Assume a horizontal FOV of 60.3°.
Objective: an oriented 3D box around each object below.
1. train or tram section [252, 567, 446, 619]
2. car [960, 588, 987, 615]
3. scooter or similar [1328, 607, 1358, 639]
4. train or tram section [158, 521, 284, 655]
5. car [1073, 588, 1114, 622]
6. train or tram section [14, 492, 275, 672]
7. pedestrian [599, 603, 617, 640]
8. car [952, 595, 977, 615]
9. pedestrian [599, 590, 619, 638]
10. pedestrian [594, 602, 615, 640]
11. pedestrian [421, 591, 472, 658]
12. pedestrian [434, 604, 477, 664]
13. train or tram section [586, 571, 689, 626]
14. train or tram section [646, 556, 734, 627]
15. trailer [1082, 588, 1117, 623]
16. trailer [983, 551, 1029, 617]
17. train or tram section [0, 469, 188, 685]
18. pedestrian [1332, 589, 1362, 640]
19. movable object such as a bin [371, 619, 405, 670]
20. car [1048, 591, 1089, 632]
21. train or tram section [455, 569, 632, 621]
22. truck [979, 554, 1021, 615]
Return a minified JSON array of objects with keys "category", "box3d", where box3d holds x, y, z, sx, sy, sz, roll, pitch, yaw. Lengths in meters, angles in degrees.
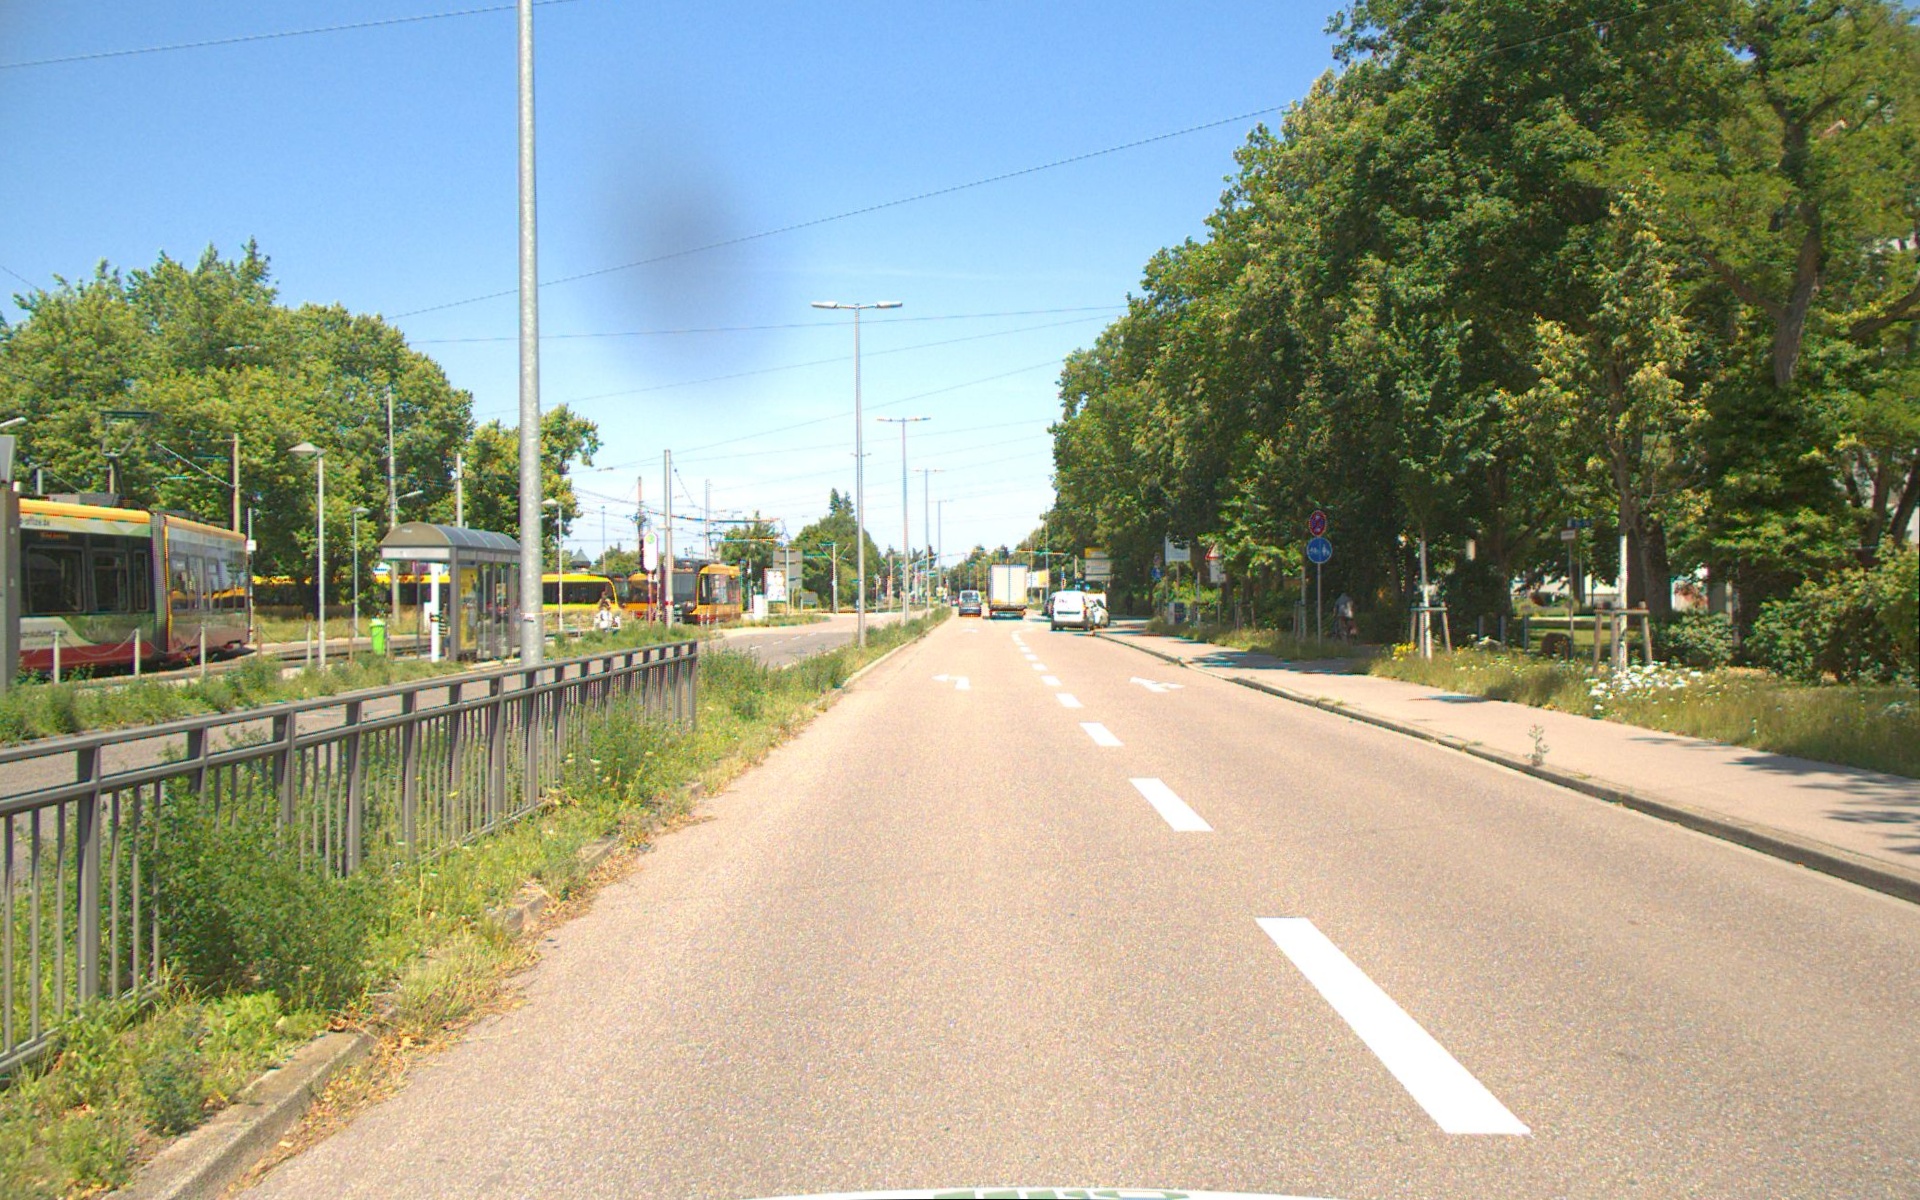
[{"category":"train or tram section","box3d":[-44.689,-0.506,121.408,12.992,3.526,3.037,1,0,-13]},{"category":"car","box3d":[1.098,0.077,135.752,1.953,2.148,4.746,0,1,-2]},{"category":"scooter or similar","box3d":[11.097,0.665,47.895,0.693,0.909,0.763,1,0,1]},{"category":"train or tram section","box3d":[-23.284,-0.382,51.705,3.007,3.687,12.344,1,0,-27]},{"category":"car","box3d":[6.915,0.255,86.069,1.665,1.683,4.398,1,0,-1]},{"category":"train or tram section","box3d":[-19.425,-0.413,40.414,2.992,3.687,12.408,1,0,-14]},{"category":"pedestrian","box3d":[-11.675,0.701,54.808,0.484,1.210,0.401,1,0,2]},{"category":"car","box3d":[0.333,0.386,128.696,1.854,1.396,4.429,2,-2,0]},{"category":"pedestrian","box3d":[-11.833,0.475,55.735,0.524,1.593,0.582,1,0,-1]},{"category":"pedestrian","box3d":[-11.677,0.690,54.301,0.569,1.210,0.536,1,0,-2]},{"category":"pedestrian","box3d":[-12.278,0.576,39.597,0.912,1.573,0.985,1,0,-2]},{"category":"pedestrian","box3d":[-11.205,0.744,36.752,0.687,1.306,0.840,1,0,-2]},{"category":"train or tram section","box3d":[-22.003,-0.149,112.090,3.003,3.526,12.626,1,0,-29]},{"category":"train or tram section","box3d":[-14.542,-0.454,90.212,2.975,3.526,13.288,1,0,-2]},{"category":"trailer","box3d":[6.955,0.271,82.444,1.439,1.698,2.855,1,0,-1]},{"category":"trailer","box3d":[3.203,-1.131,117.627,2.770,4.499,8.747,1,0,-1]},{"category":"train or tram section","box3d":[-17.903,-0.416,28.487,2.982,3.687,13.894,1,0,-2]},{"category":"pedestrian","box3d":[11.076,0.411,47.343,0.693,1.422,0.763,1,0,1]},{"category":"movable object such as a bin","box3d":[-11.456,0.887,33.149,0.472,0.995,0.644,0,0,-4]},{"category":"car","box3d":[4.967,0.494,76.119,1.674,1.778,4.428,1,0,1]},{"category":"train or tram section","box3d":[-30.311,-0.402,120.451,12.438,3.526,3.049,1,0,13]},{"category":"truck","box3d":[3.023,-1.220,126.180,2.770,4.420,8.283,1,1,-1]}]
